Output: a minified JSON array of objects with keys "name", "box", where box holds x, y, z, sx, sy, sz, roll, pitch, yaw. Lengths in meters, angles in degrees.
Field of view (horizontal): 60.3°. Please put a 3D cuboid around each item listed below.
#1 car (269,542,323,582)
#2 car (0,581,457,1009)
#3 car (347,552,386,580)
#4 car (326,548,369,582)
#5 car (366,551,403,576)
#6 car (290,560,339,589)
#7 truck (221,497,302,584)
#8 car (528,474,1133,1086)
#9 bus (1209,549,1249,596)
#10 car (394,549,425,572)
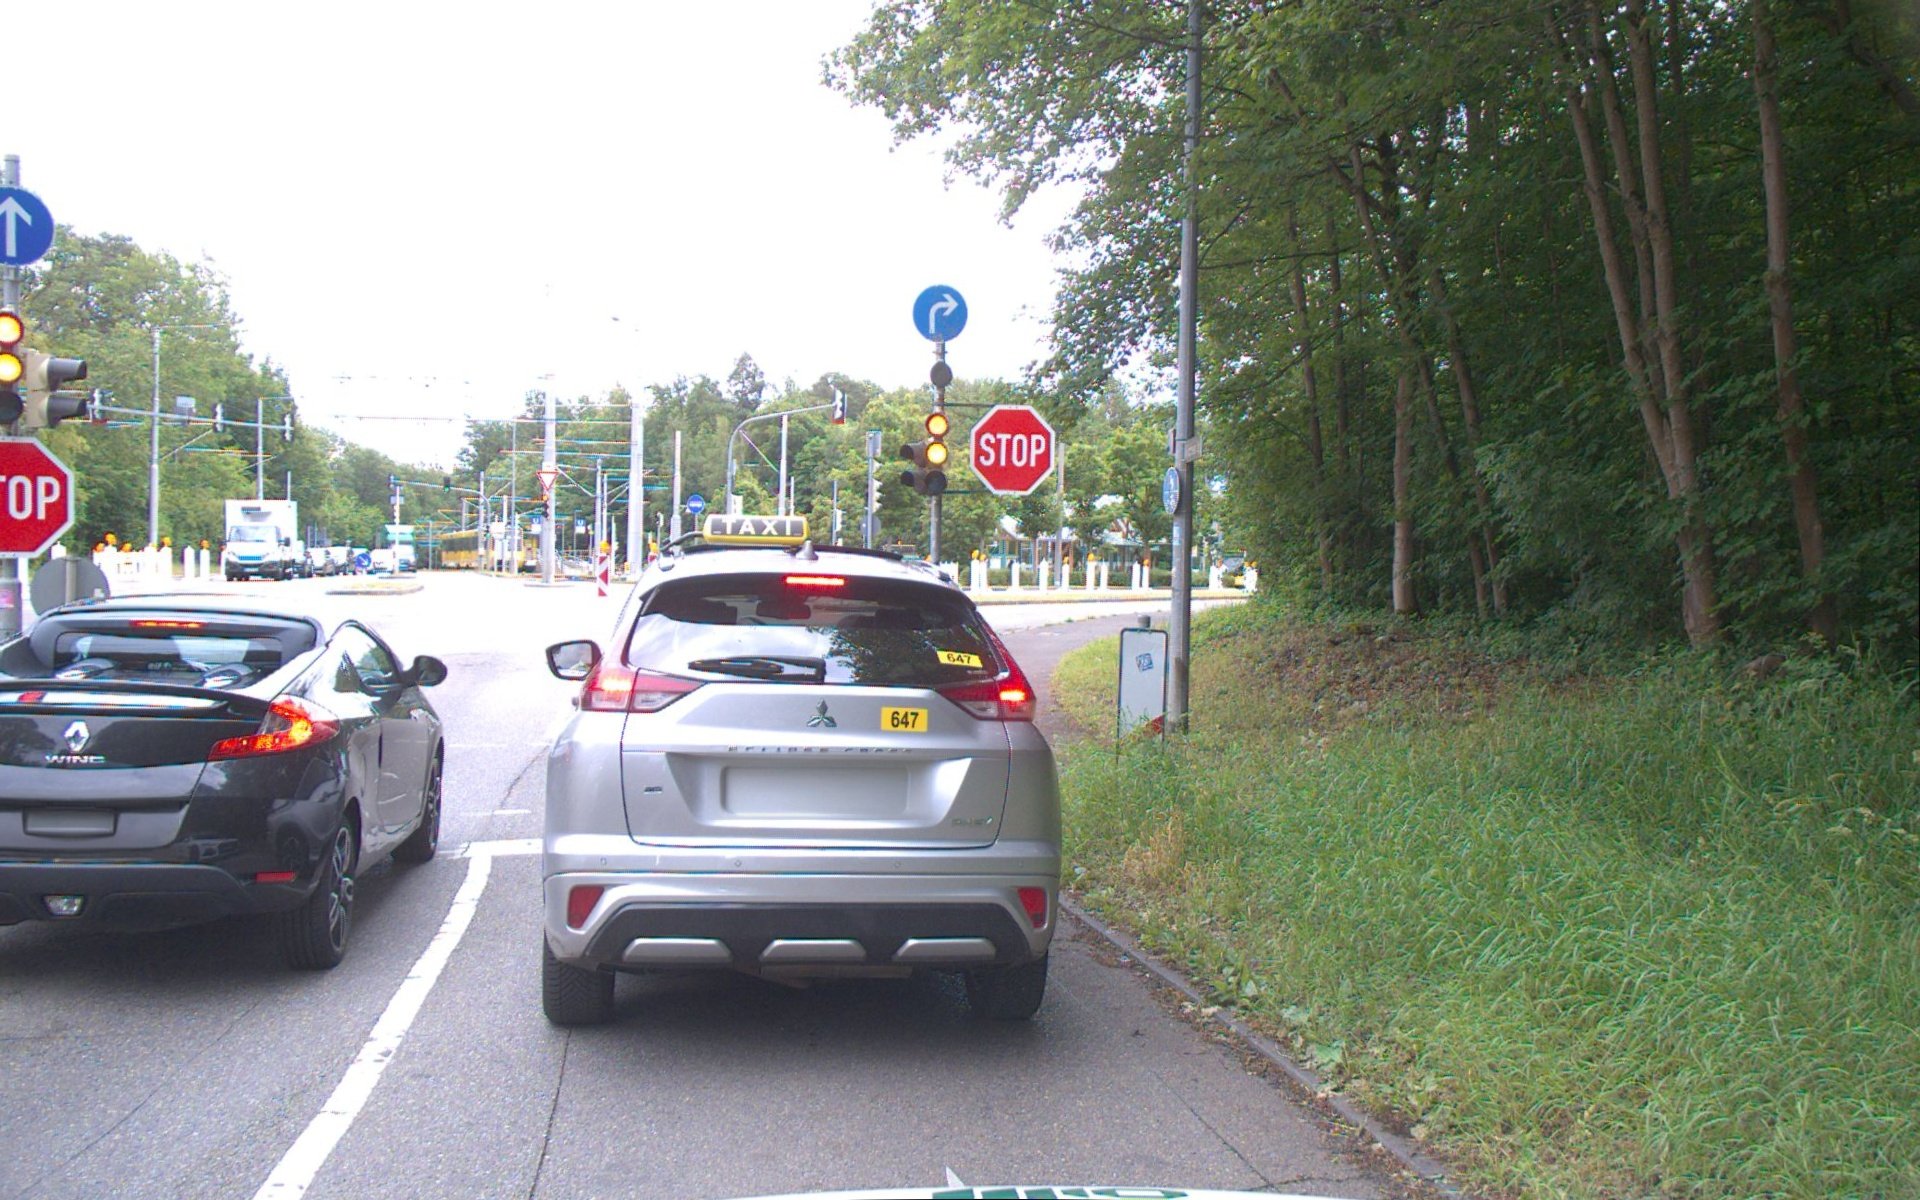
[{"name":"car","box":[-31.361,-1.815,78.223,1.931,1.780,4.823,0,1,-17]},{"name":"car","box":[-3.301,0.629,7.237,1.742,1.385,3.467,0,1,-11]},{"name":"car","box":[-36.017,-2.100,100.452,1.930,1.635,4.292,1,1,-16]},{"name":"car","box":[-35.010,-2.009,94.612,1.930,1.877,4.670,1,1,-16]},{"name":"car","box":[-36.972,-2.373,106.360,1.930,1.568,4.378,1,1,-16]},{"name":"car","box":[-33.579,-1.346,86.168,1.930,1.385,4.670,1,1,-16]},{"name":"truck","box":[-27.986,-2.338,66.488,2.411,3.280,7.118,0,1,-19]},{"name":"car","box":[-0.652,0.518,6.806,1.741,1.778,3.773,2,1,-9]},{"name":"bus","box":[22.026,-2.315,136.018,2.761,3.665,12.815,1,2,7]},{"name":"car","box":[-39.726,-2.867,119.429,1.930,1.567,4.292,1,1,-16]}]
